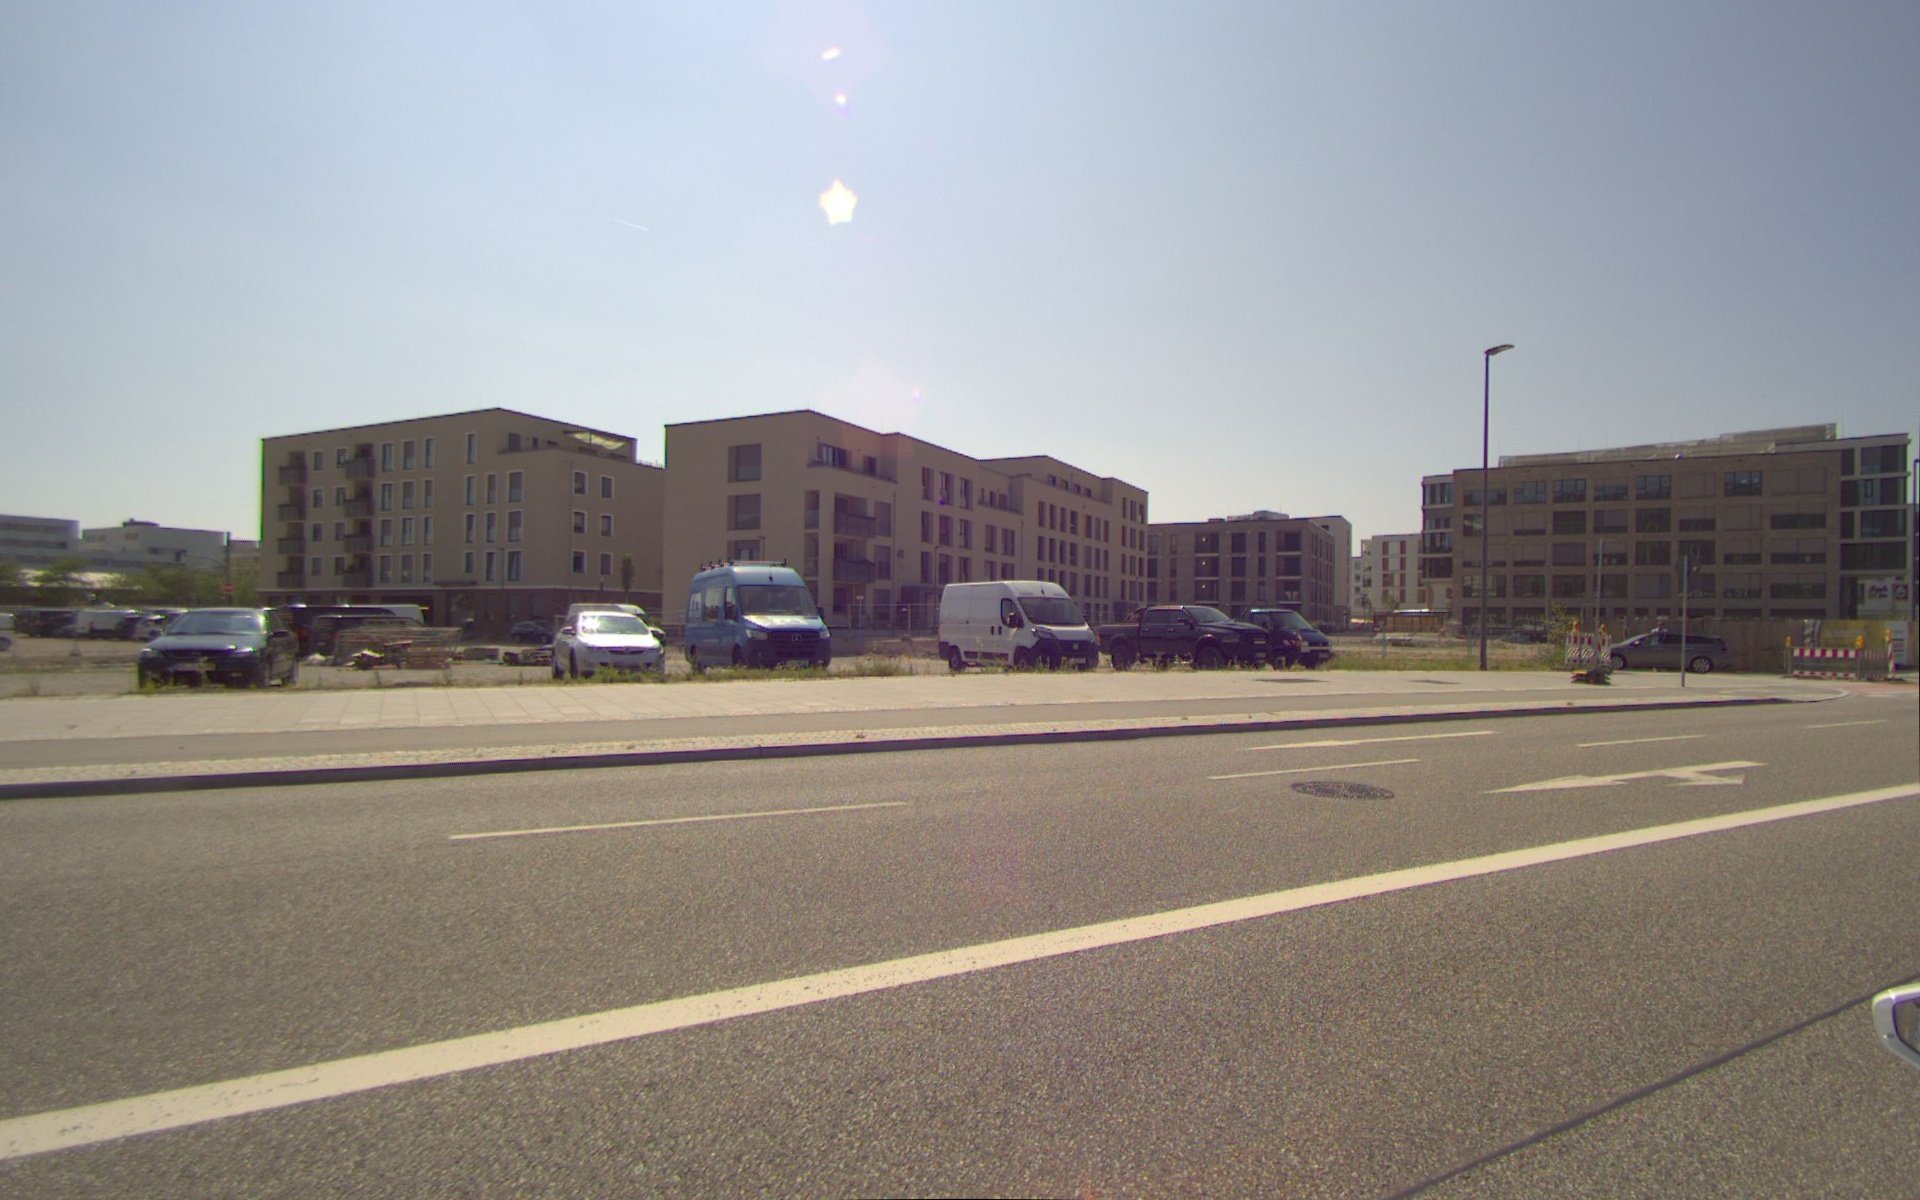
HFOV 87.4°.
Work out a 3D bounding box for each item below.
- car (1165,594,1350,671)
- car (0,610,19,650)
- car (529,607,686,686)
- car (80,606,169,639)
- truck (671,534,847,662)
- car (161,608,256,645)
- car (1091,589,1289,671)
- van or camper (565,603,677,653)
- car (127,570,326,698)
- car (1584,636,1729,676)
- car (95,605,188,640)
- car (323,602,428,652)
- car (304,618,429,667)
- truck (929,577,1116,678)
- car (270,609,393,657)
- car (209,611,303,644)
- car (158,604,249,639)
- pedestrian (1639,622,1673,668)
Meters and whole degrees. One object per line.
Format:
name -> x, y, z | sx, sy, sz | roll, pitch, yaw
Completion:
car -> 9.242, 1.006, 31.736 | 2.369, 2.202, 5.412 | 1, -2, -33
car -> -47.209, 1.389, 47.206 | 1.966, 1.906, 3.989 | 0, -2, 33
car -> -7.788, 0.934, 21.813 | 2.083, 1.493, 5.621 | 1, -2, -31
car -> -53.911, 1.471, 64.889 | 1.965, 2.040, 3.992 | 0, -1, 31
truck -> -4.863, 0.029, 23.447 | 2.248, 2.577, 5.977 | 1, -2, -30
car -> -44.147, 1.506, 59.081 | 1.965, 2.040, 3.991 | 1, 0, 31
car -> 6.699, 0.861, 30.037 | 2.369, 2.194, 5.849 | 1, -2, -32
van or camper -> -18.459, 1.501, 54.750 | 5.812, 2.592, 1.936 | 0, -1, 20
car -> -12.479, 0.573, 17.391 | 1.801, 1.929, 3.979 | 1, -1, -22
car -> 25.941, 2.060, 37.592 | 4.168, 1.335, 1.998 | 0, -1, 26
car -> -50.155, 1.361, 61.593 | 1.965, 2.040, 3.991 | 1, 0, 31
car -> -28.261, 1.252, 48.702 | 1.962, 2.270, 3.997 | 1, 0, 25
car -> -24.404, 1.700, 41.450 | 1.965, 1.873, 3.991 | 1, 0, 31
truck -> 1.507, 0.727, 26.735 | 2.249, 2.394, 5.539 | 1, -2, -31
car -> -26.827, 1.366, 42.972 | 1.965, 1.873, 3.991 | 1, 0, 31
car -> -40.869, 1.606, 58.383 | 1.965, 1.810, 3.992 | 0, -1, 31
car -> -46.126, 1.299, 61.310 | 1.965, 2.040, 3.991 | 1, 0, 31
pedestrian -> 27.003, 1.750, 38.985 | 0.743, 1.706, 0.685 | 3, 0, -13
